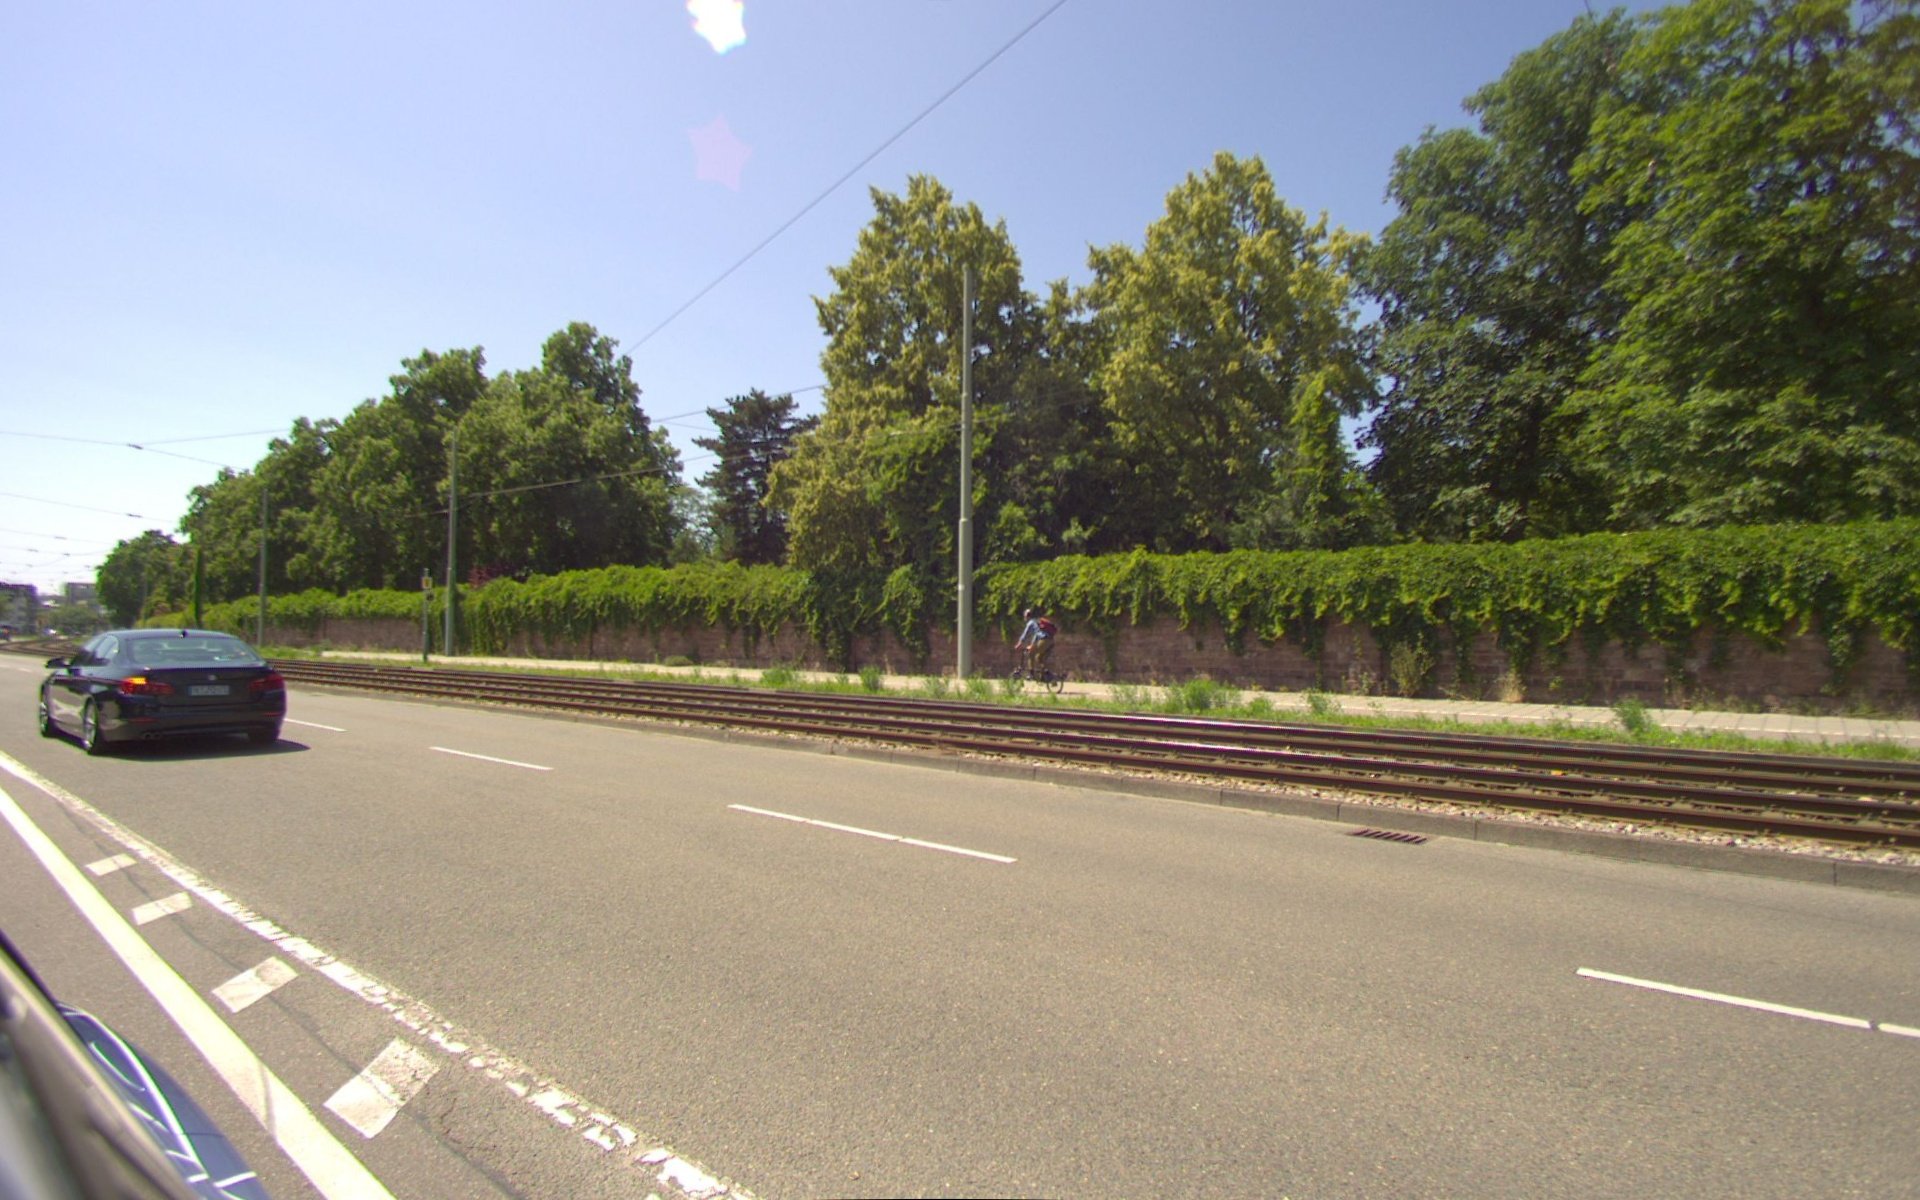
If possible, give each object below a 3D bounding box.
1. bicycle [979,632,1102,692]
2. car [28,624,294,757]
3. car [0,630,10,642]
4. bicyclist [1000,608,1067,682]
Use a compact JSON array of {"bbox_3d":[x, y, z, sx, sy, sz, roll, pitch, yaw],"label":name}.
[{"bbox_3d":[1.648,1.267,21.182,2.686,1.165,0.819,-2,-2,45],"label":"bicycle"},{"bbox_3d":[-10.278,1.032,12.895,4.444,1.410,1.775,-2,-2,40],"label":"car"},{"bbox_3d":[-121.471,4.549,127.956,1.670,1.480,4.007,1,-2,-40],"label":"car"},{"bbox_3d":[1.549,0.929,21.284,1.000,1.497,0.983,-2,-2,44],"label":"bicyclist"}]
